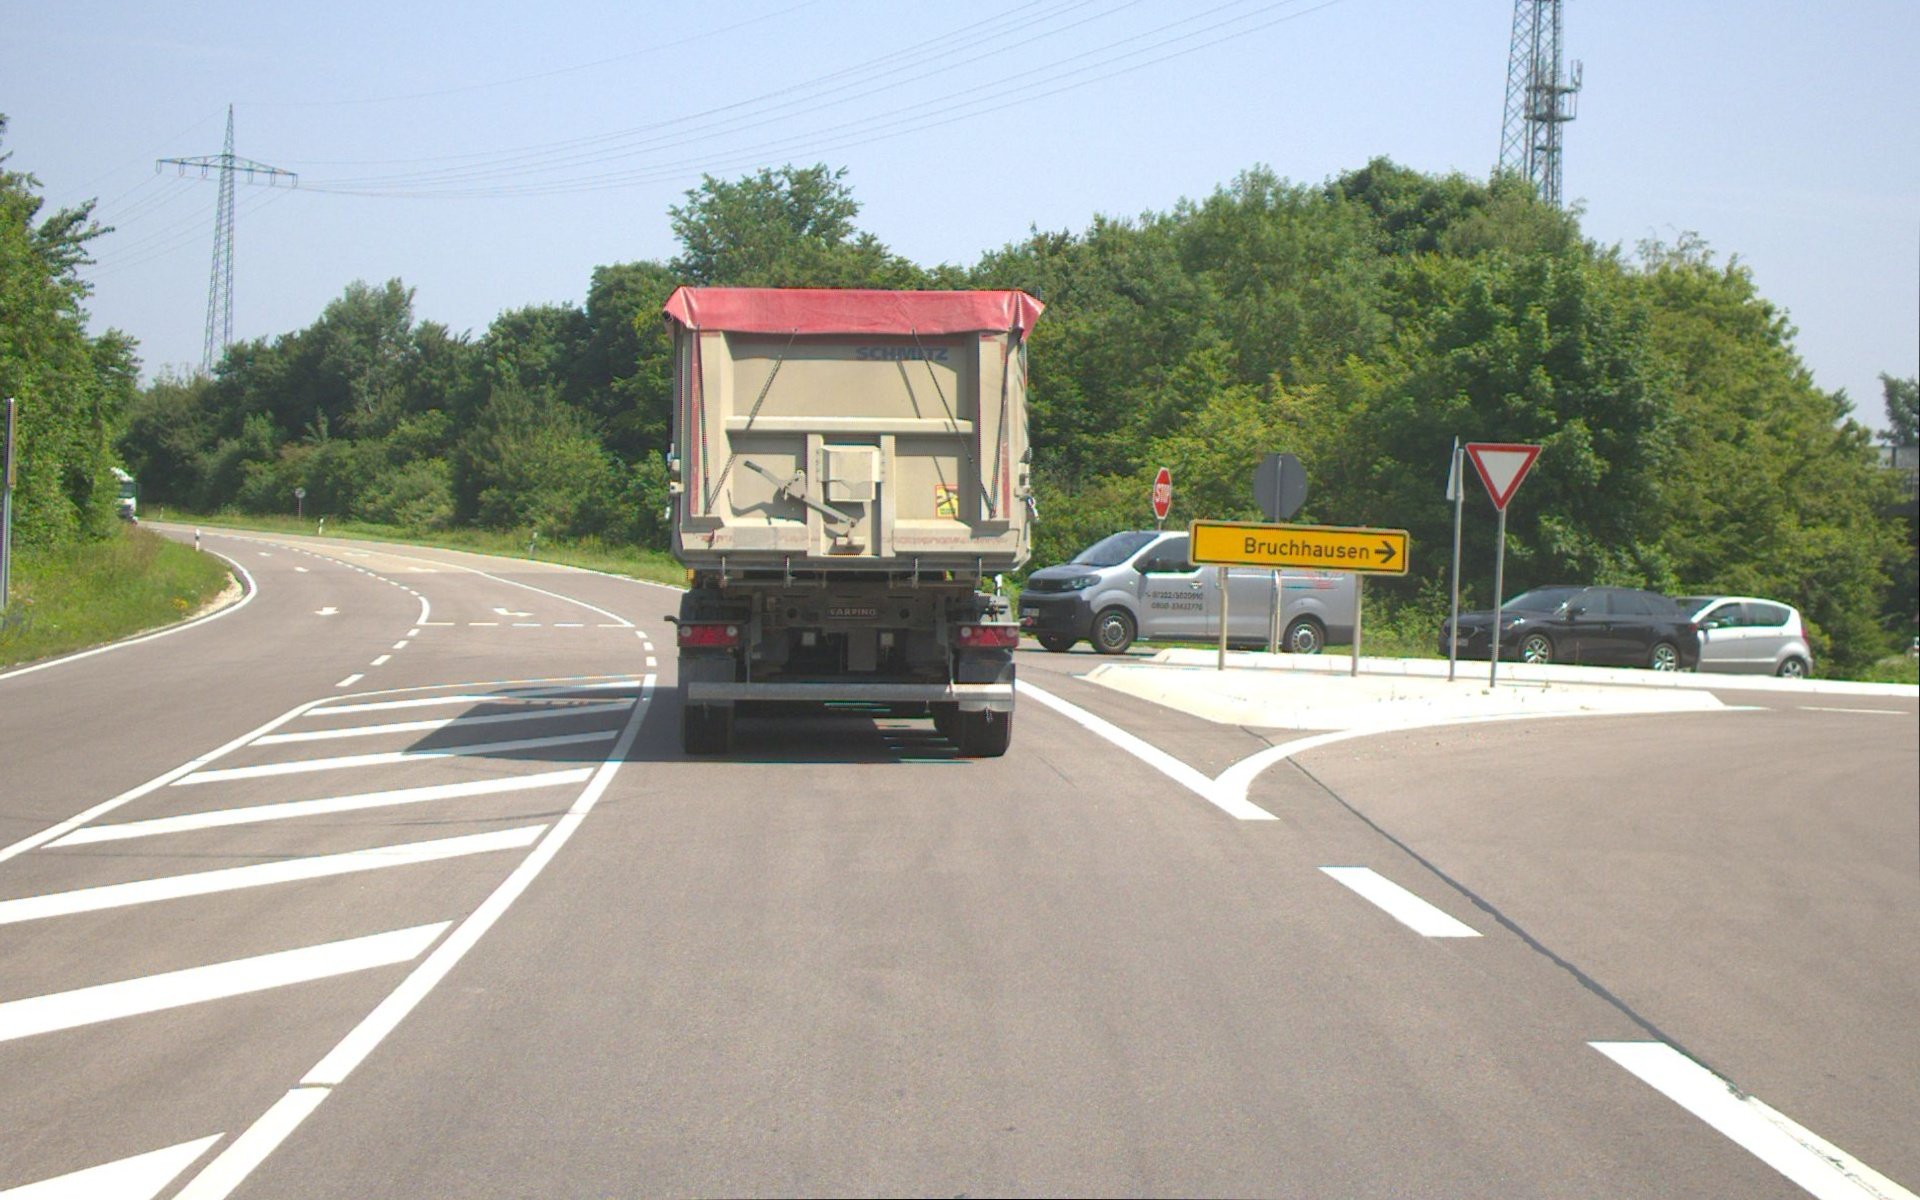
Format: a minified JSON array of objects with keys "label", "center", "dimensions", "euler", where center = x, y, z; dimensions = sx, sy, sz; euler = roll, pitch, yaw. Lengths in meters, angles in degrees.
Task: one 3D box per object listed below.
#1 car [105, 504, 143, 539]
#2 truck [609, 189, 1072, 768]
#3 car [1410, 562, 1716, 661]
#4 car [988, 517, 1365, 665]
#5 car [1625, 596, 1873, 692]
[{"label":"car","center":[-44.662,-4.192,183.692],"dimensions":[1.842,1.773,4.895],"euler":[1,1,-15]},{"label":"truck","center":[-1.421,-0.969,29.697],"dimensions":[2.892,3.949,11.936],"euler":[1,1,-7]},{"label":"car","center":[9.490,0.189,54.056],"dimensions":[4.548,1.469,1.869],"euler":[1,1,-29]},{"label":"car","center":[3.241,-0.124,51.262],"dimensions":[5.212,1.900,2.014],"euler":[3,-1,-25]},{"label":"car","center":[13.584,0.750,59.169],"dimensions":[3.981,1.574,1.845],"euler":[0,1,-31]}]
